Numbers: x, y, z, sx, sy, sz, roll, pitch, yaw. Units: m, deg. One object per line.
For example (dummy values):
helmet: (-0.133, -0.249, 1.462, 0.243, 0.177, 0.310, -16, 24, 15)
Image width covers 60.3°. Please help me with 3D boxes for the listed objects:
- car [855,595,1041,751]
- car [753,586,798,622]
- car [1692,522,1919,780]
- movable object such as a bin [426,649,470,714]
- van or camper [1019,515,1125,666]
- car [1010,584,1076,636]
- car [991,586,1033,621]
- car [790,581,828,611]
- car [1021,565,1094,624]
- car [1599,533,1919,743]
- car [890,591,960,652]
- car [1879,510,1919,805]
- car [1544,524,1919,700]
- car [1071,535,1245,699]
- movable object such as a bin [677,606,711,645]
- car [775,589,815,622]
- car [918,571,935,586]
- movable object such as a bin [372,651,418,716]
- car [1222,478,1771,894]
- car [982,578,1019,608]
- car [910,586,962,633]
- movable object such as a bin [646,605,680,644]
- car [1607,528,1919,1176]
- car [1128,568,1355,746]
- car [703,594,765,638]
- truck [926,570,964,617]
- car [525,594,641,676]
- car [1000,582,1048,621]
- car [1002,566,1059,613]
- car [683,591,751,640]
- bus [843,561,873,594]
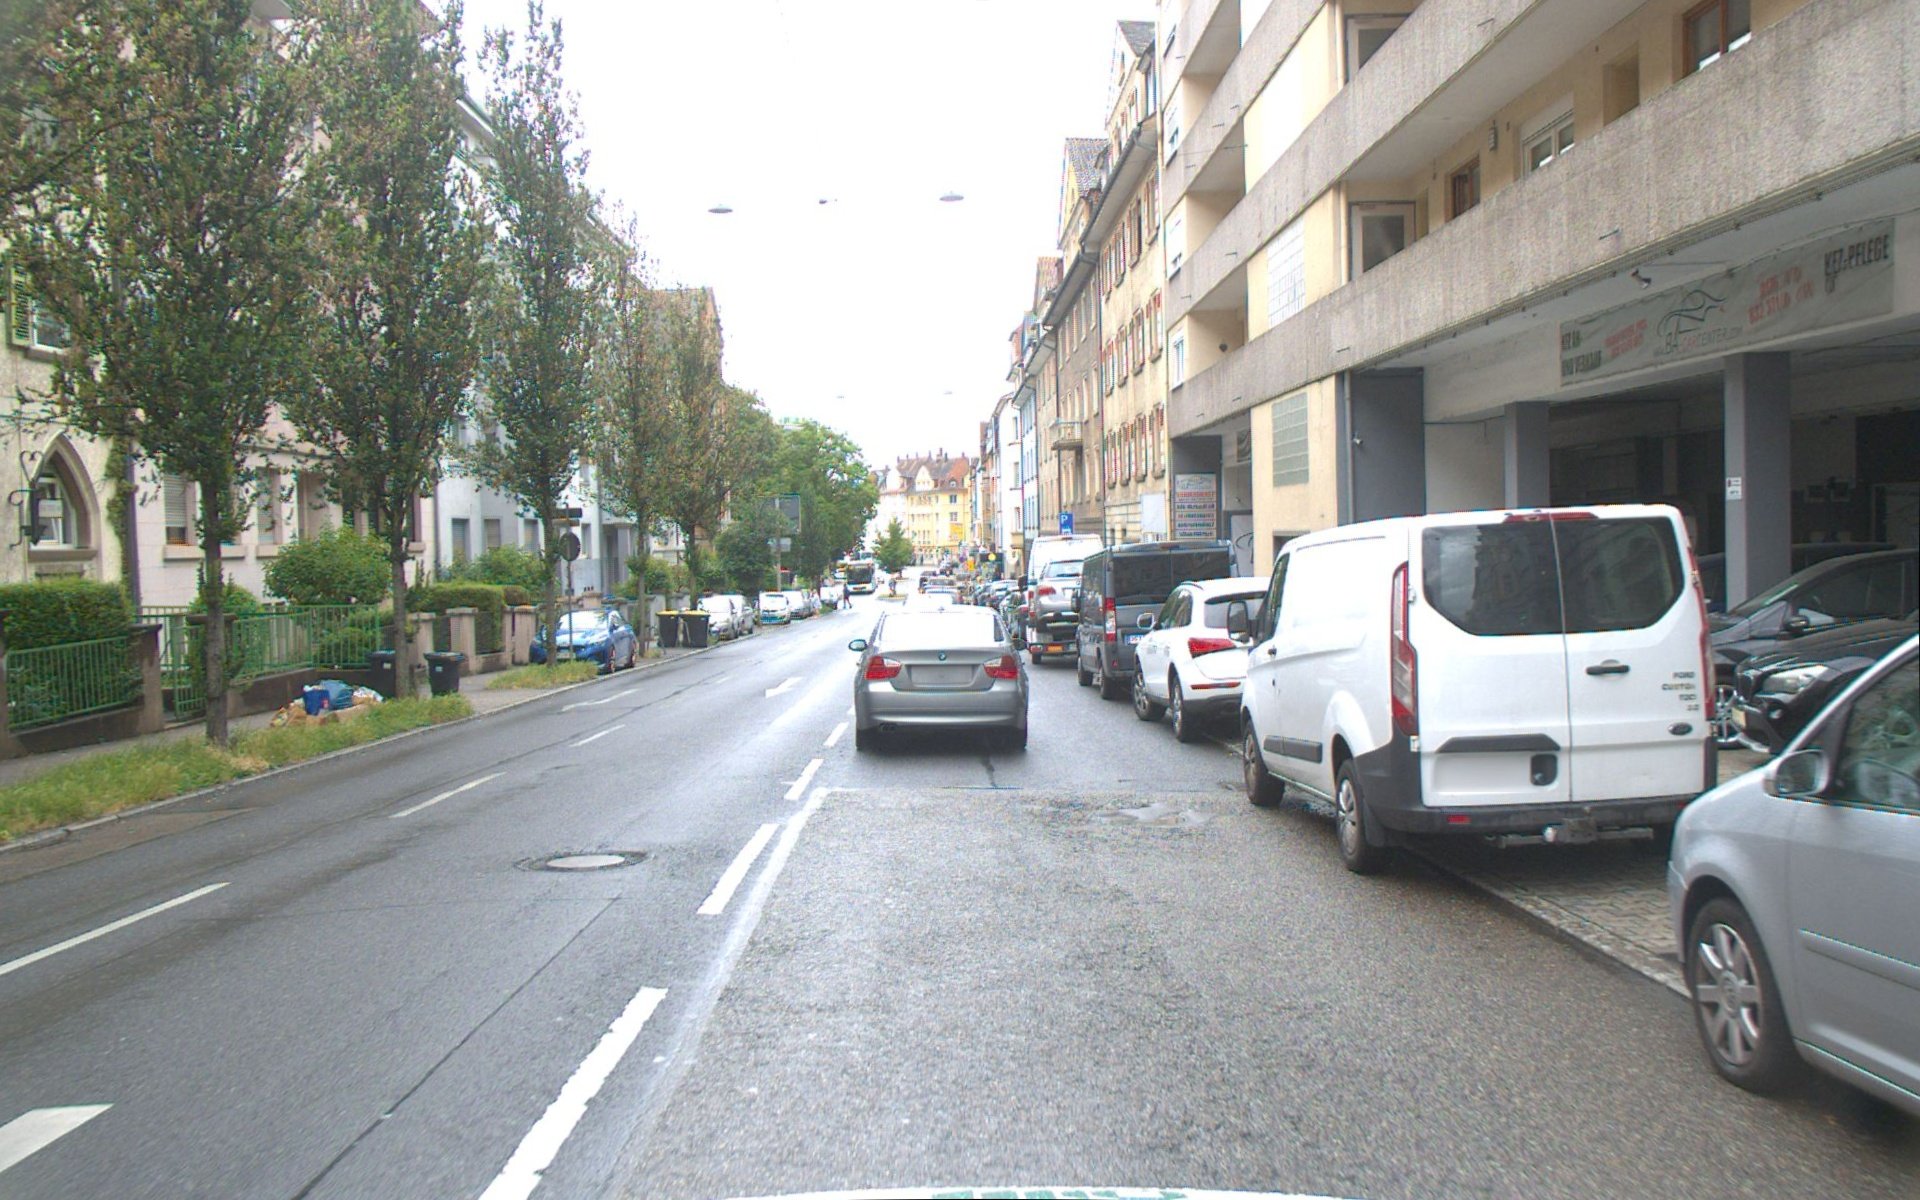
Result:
car: (-0.106, 0.675, 17.255, 1.733, 1.453, 3.741, 0, 0, 0)
car: (-8.808, 0.168, 79.147, 1.656, 1.550, 3.736, -3, 1, 0)
car: (7.849, 0.292, 12.093, 4.233, 1.756, 1.911, -1, 2, 12)
movable object such as a bin: (-7.742, 1.224, 25.033, 0.565, 0.928, 0.638, -2, 0, -15)
van or camper: (2.361, -0.222, 35.940, 1.991, 2.919, 6.887, 1, 0, 3)
car: (2.460, 0.287, 49.847, 1.663, 1.509, 3.974, 0, 0, -2)
car: (2.300, 0.145, 73.996, 1.663, 1.509, 3.974, 0, 0, -2)
car: (-8.430, -0.214, 92.497, 1.656, 1.550, 3.736, -3, 1, 0)
car: (2.595, -0.138, 44.822, 1.663, 1.509, 3.792, 0, 0, -2)
car: (7.909, 0.283, 14.300, 4.195, 1.669, 1.669, -1, 2, 12)
car: (-0.832, 0.511, 41.318, 1.647, 1.453, 3.741, 0, 0, 0)
car: (7.949, 0.320, 9.573, 4.234, 1.836, 2.008, -1, 2, 17)
car: (8.444, 0.101, 17.293, 4.195, 1.669, 1.669, -1, 2, 12)
car: (2.922, 0.220, 25.440, 1.942, 2.203, 4.749, -2, 0, -1)
movable object such as a bin: (-8.228, 0.777, 51.154, 0.916, 1.189, 0.909, -1, 0, -1)
car: (-8.592, 0.268, 86.394, 1.656, 1.550, 3.736, -3, 1, 0)
car: (-3.608, -2.276, 177.482, 1.663, 1.508, 3.792, -3, 0, -2)
movable object such as a bin: (-8.532, 1.252, 24.985, 0.565, 0.928, 0.638, -2, 0, -15)
car: (3.118, 0.423, 10.784, 1.942, 2.042, 4.624, -2, 0, -1)
car: (2.029, -0.337, 83.808, 1.663, 1.509, 3.974, 0, 0, -2)
car: (-0.811, 0.298, 54.558, 1.663, 1.509, 3.792, 0, 0, -2)
movable object such as a bin: (-9.180, 0.753, 51.135, 0.883, 1.189, 0.895, -1, 0, -1)
car: (3.325, 0.615, 4.005, 1.691, 1.699, 4.287, -3, 0, -1)
car: (3.023, 0.554, 18.602, 1.691, 1.699, 4.287, -2, 0, -1)
car: (-8.728, 0.592, 64.139, 1.790, 1.550, 3.736, -3, 1, 0)
truck: (-0.833, -0.318, 89.030, 1.991, 2.455, 4.825, 0, 0, -2)
car: (-8.421, 0.743, 37.254, 1.731, 1.621, 3.998, -3, 1, -2)
car: (2.523, 0.075, 65.835, 1.663, 1.509, 3.974, 0, 0, -2)
car: (2.327, -0.344, 55.401, 1.663, 1.509, 3.974, 0, 0, -2)
car: (-8.579, 0.521, 58.636, 1.790, 1.550, 3.736, -3, 1, 0)
bus: (-10.200, -2.231, 166.165, 2.614, 3.077, 7.669, -2, 0, -1)
